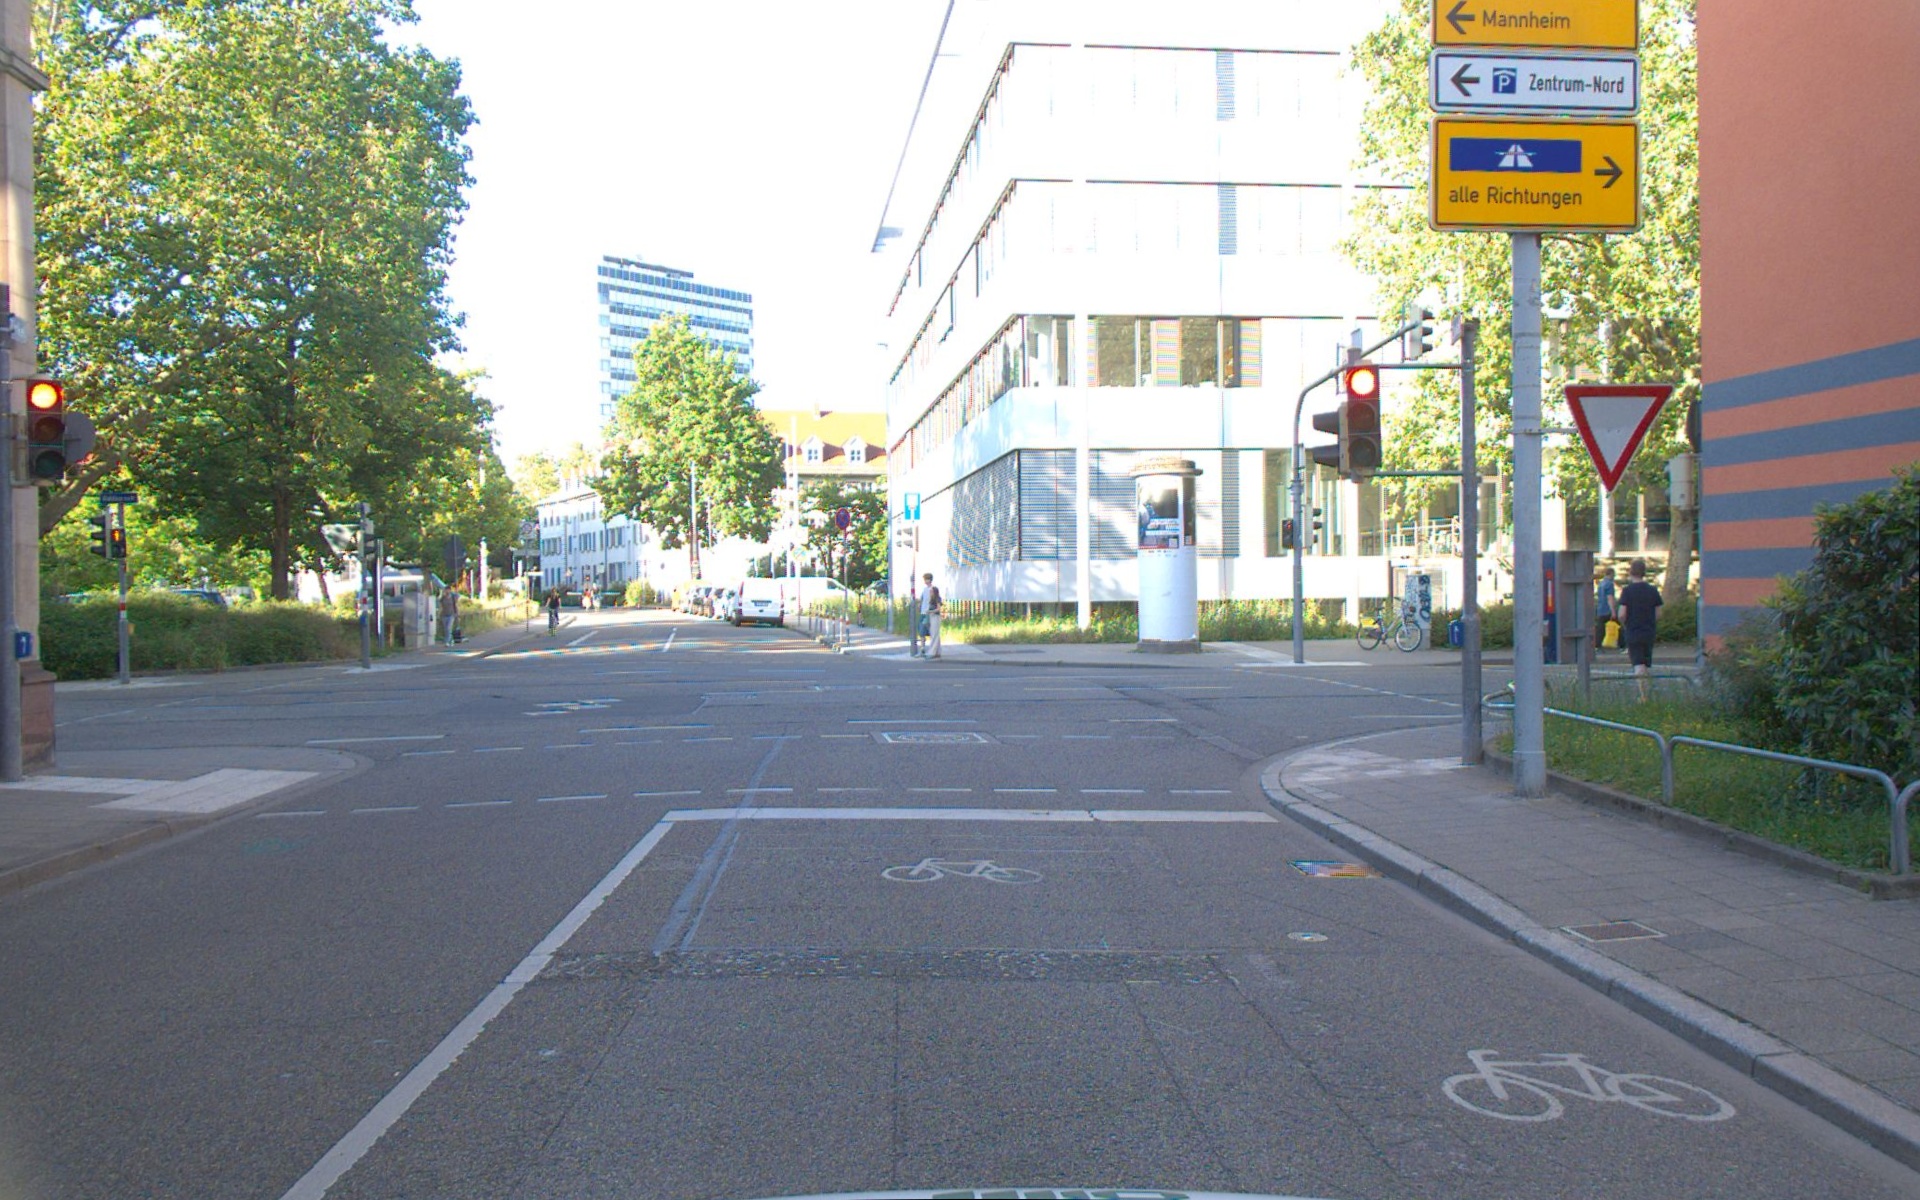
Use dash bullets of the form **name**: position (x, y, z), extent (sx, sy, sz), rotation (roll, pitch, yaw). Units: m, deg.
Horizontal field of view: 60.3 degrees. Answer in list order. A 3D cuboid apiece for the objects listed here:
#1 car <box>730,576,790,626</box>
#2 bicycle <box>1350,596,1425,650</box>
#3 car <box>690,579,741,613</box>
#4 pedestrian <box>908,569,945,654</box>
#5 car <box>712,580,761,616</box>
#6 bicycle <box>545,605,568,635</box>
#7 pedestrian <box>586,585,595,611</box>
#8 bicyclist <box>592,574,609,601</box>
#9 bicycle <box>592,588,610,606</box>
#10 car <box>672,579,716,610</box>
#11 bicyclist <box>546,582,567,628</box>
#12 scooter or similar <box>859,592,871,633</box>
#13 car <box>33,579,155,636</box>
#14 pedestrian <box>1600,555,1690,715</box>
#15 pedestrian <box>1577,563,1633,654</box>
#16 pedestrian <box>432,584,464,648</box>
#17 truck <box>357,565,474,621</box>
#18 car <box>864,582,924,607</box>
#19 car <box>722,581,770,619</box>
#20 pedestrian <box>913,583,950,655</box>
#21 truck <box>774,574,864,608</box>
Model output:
- **car**: position (-7.837, -0.010, 64.571), extent (2.047, 1.827, 4.404), rotation (0, 1, -10)
- **bicycle**: position (9.349, 0.496, 36.190), extent (0.503, 1.067, 1.667), rotation (-3, 4, -35)
- **car**: position (-12.674, -0.225, 85.388), extent (1.860, 1.684, 4.391), rotation (0, 1, -19)
- **pedestrian**: position (-0.760, 0.265, 37.809), extent (0.547, 1.882, 0.678), rotation (-3, 1, 15)
- **car**: position (-10.610, -0.102, 78.170), extent (1.856, 1.582, 4.400), rotation (0, 1, -14)
- **bicycle**: position (-13.942, 0.678, 57.175), extent (0.604, 0.986, 1.837), rotation (-1, 1, -9)
- **pedestrian**: position (-23.584, -0.147, 105.540), extent (0.428, 1.636, 0.488), rotation (-1, 0, -27)
- **bicyclist**: position (-21.154, -0.714, 97.378), extent (0.850, 1.541, 1.017), rotation (-3, 0, -10)
- **bicycle**: position (-21.132, -0.166, 97.365), extent (0.850, 1.027, 2.408), rotation (-3, 0, -10)
- **car**: position (-15.348, -0.337, 95.284), extent (1.860, 1.684, 4.391), rotation (0, 1, -19)
- **bicyclist**: position (-13.952, 0.155, 57.185), extent (0.604, 1.559, 0.901), rotation (-1, 0, -9)
- **scooter or similar**: position (-3.365, 0.438, 58.530), extent (0.324, 1.449, 1.333), rotation (1, 0, -6)
- **car**: position (-39.977, 0.334, 76.459), extent (4.472, 2.433, 2.069), rotation (-2, 0, -10)
- **pedestrian**: position (8.183, 0.406, 19.780), extent (0.692, 1.872, 0.837), rotation (1, 0, -1)
- **pedestrian**: position (13.477, 0.171, 34.551), extent (0.819, 1.872, 0.707), rotation (1, 0, -11)
- **pedestrian**: position (-14.251, 0.434, 46.046), extent (0.690, 1.753, 0.952), rotation (-2, 0, -10)
- **truck**: position (-24.565, -0.326, 74.776), extent (4.741, 2.441, 2.082), rotation (0, 1, -11)
- **car**: position (-4.165, -0.348, 104.198), extent (3.502, 1.573, 1.549), rotation (-1, 0, -20)
- **car**: position (-9.442, -0.026, 72.817), extent (1.854, 1.582, 4.404), rotation (0, 1, -10)
- **pedestrian**: position (-0.645, 0.432, 37.205), extent (0.551, 1.567, 0.673), rotation (-4, 1, -19)
- **truck**: position (-8.779, -0.563, 102.943), extent (5.258, 2.049, 1.989), rotation (-1, 0, -20)
